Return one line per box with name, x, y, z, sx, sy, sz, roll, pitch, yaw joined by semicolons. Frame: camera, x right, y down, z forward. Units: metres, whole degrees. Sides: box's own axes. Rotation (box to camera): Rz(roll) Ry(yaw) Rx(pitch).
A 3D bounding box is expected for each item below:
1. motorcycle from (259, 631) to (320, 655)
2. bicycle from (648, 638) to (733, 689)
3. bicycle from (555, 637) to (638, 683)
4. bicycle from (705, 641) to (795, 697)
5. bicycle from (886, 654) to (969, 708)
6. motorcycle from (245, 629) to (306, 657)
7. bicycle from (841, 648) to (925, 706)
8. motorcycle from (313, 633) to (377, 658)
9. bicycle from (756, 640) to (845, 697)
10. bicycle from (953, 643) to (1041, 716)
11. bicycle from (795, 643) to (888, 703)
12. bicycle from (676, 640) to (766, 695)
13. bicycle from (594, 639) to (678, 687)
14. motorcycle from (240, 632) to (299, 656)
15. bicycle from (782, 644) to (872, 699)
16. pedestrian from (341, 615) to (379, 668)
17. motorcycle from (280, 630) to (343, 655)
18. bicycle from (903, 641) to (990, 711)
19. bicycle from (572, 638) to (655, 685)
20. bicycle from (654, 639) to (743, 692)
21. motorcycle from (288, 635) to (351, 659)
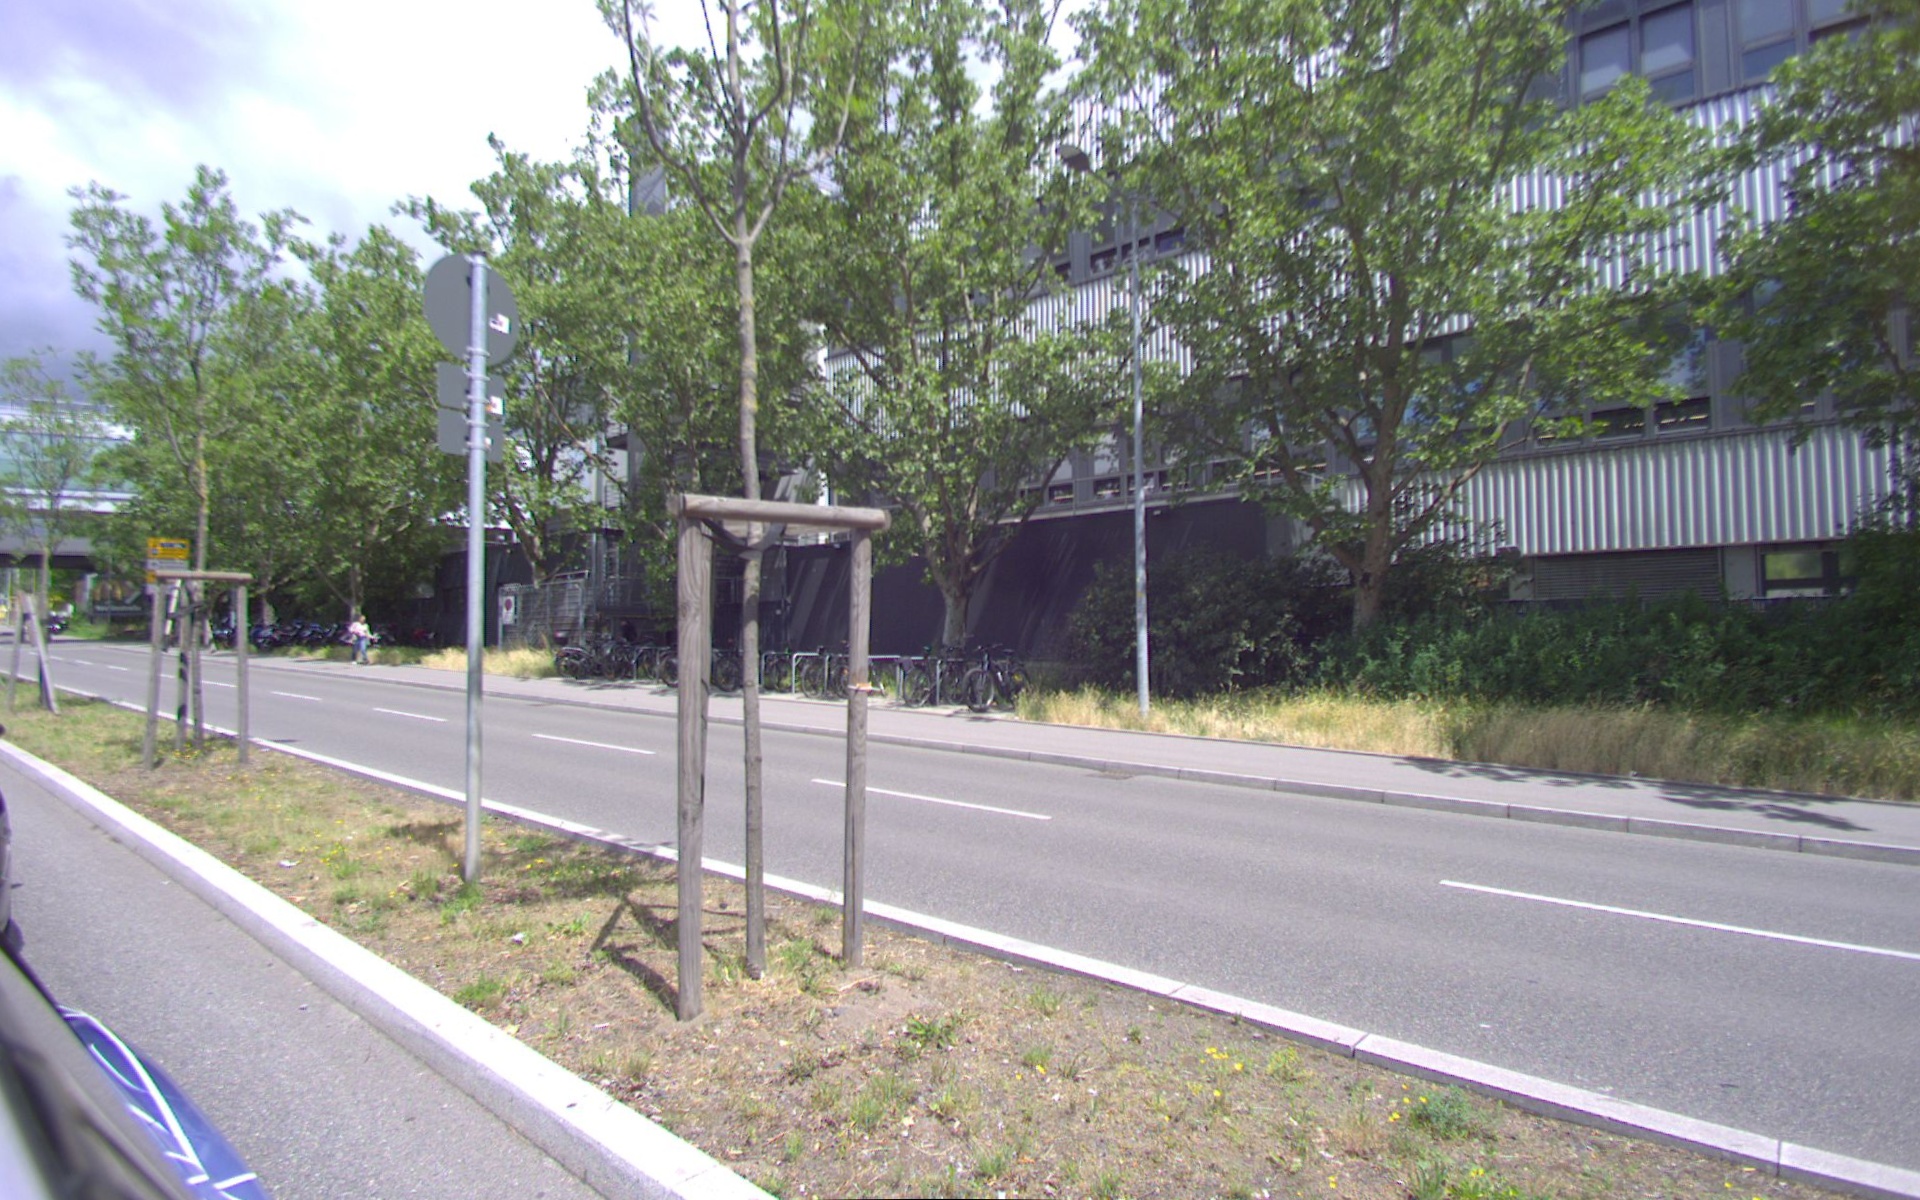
motorcycle;-28.385;1.803;42.884;0.534;0.976;2.105;-2;-1;41
bicycle;-6.477;1.508;24.415;0.382;1.119;2.101;-2;-1;43
bicycle;-9.543;1.548;26.633;0.382;1.119;2.101;-2;-1;43
bicycle;-4.540;1.476;22.018;0.382;1.119;2.101;-2;-1;43
bicycle;-0.594;1.518;19.223;0.381;0.897;1.968;-2;-1;39
motorcycle;-29.432;1.825;43.558;0.534;1.146;2.105;-2;-1;41
bicycle;-1.466;1.474;19.708;0.381;1.005;1.968;-2;-1;39
motorcycle;-24.103;1.787;39.696;0.534;0.905;2.105;-2;-1;41
bicycle;-3.409;1.453;21.752;0.382;1.119;2.101;-2;-1;43
bicycle;0.663;1.336;17.399;0.381;1.137;1.968;-2;-1;39
bicycle;-2.337;1.432;20.230;0.382;1.104;2.101;-2;-1;43
bicycle;-5.330;1.485;22.669;0.382;1.119;2.101;-2;-1;43
bicycle;-8.157;1.563;25.539;0.382;1.119;2.101;-2;-1;43
motorcycle;-30.857;1.951;45.236;0.534;0.976;2.105;-2;-1;41
bicycle;-2.740;1.476;21.138;0.382;1.038;2.101;-2;-1;43
pedestrian;-19.840;1.367;33.483;0.672;1.734;0.888;-2;-2;41
motorcycle;-26.668;1.732;41.643;0.534;0.976;2.105;-2;-1;41
bicycle;-0.216;1.333;18.121;0.381;1.137;1.968;-2;-1;39
bicycle;-8.901;1.567;26.088;0.382;1.119;2.101;-2;-1;43
bicycle;-5.987;1.480;23.266;0.382;1.119;2.101;-2;-1;43
motorcycle;-25.935;1.884;41.004;0.534;0.892;2.105;-2;-1;41
